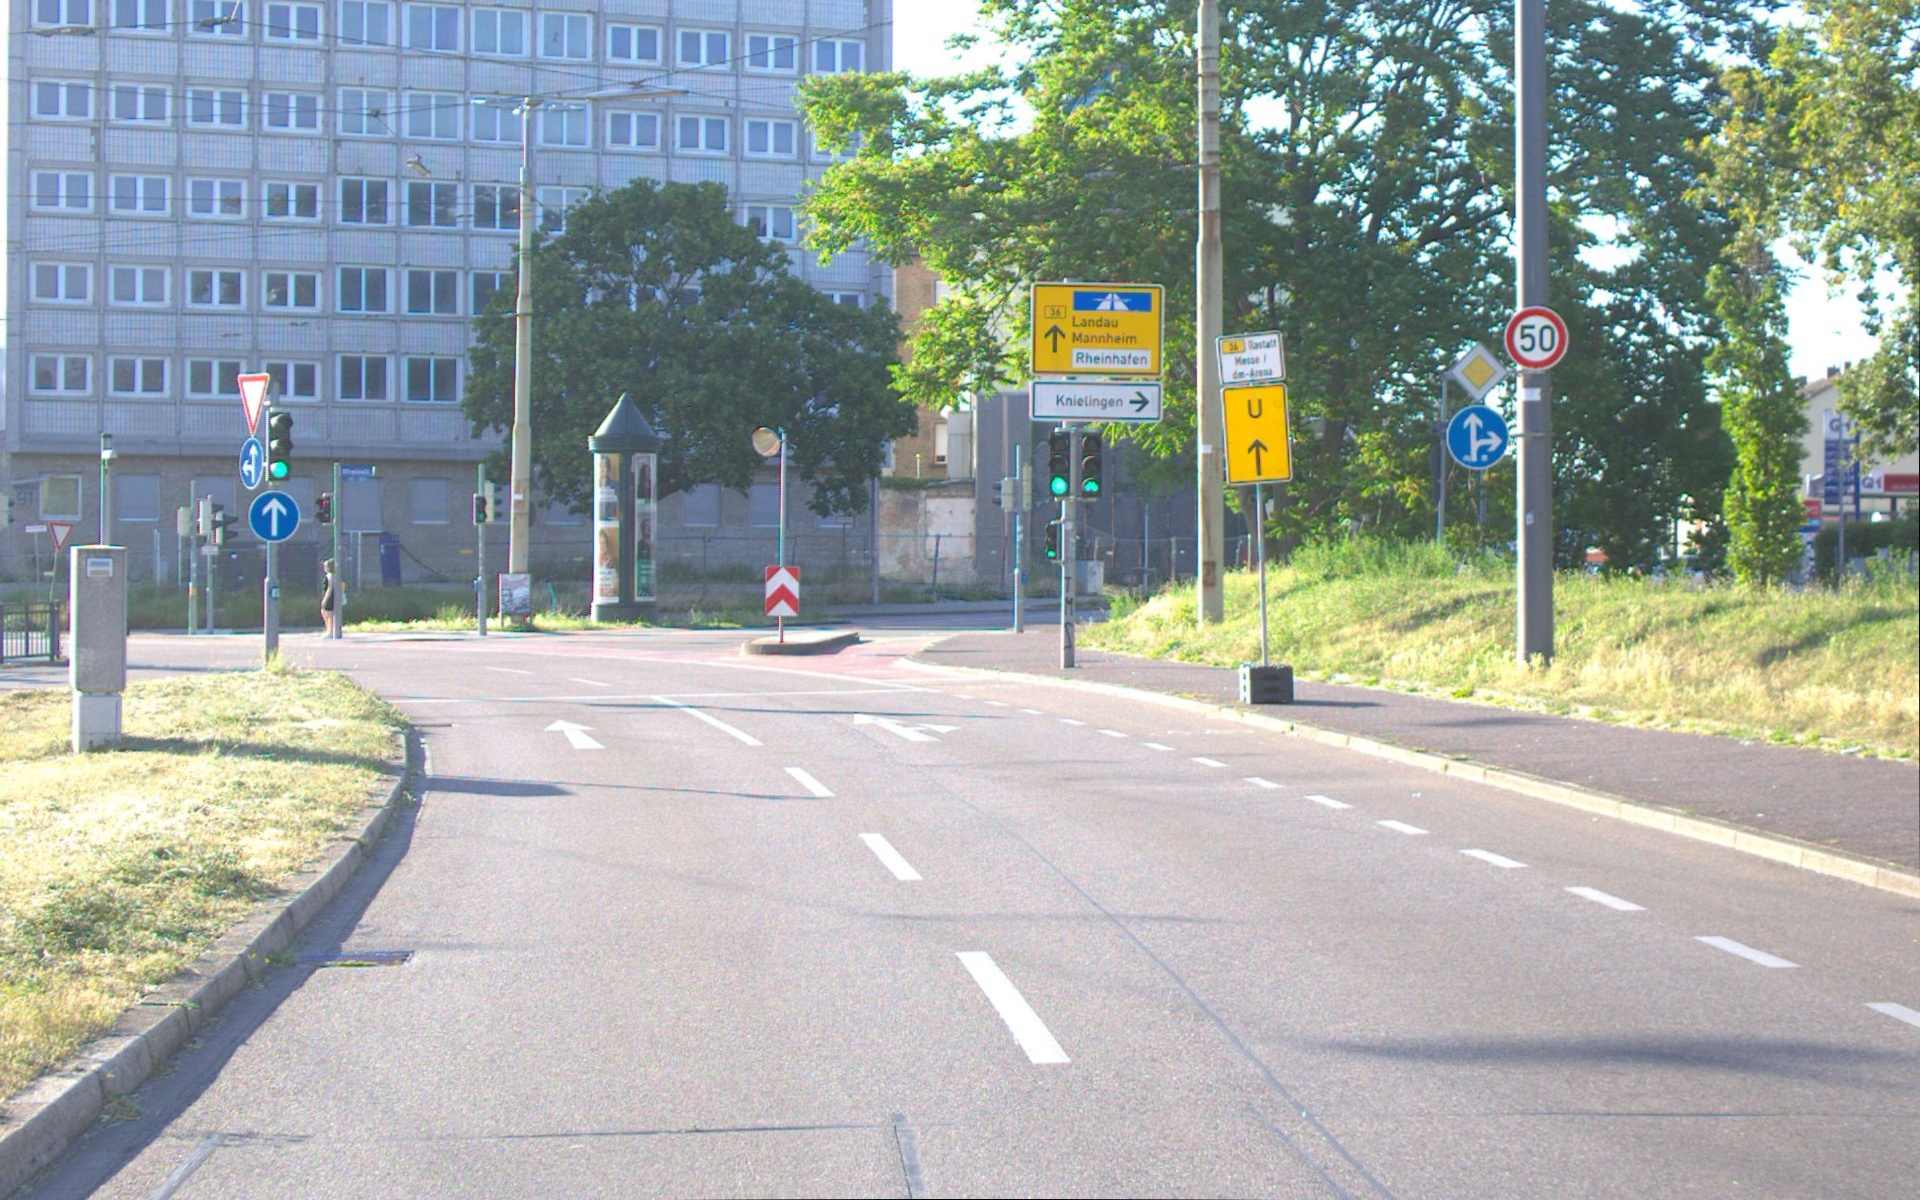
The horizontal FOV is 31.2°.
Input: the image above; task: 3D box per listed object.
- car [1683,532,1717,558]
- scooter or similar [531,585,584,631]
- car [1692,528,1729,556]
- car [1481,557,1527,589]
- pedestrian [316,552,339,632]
[{"bbox_3d":[45.165,-3.338,209.681,1.860,1.538,3.997,-1,1,14],"label":"car"},{"bbox_3d":[-10.305,0.201,87.992,1.296,1.166,0.327,-1,1,-20],"label":"scooter or similar"},{"bbox_3d":[42.669,-3.282,195.392,1.860,1.538,3.876,-1,1,14],"label":"car"},{"bbox_3d":[26.156,-1.301,165.221,1.874,1.453,3.785,-1,1,14],"label":"car"},{"bbox_3d":[-12.818,-0.169,69.642,0.436,1.607,0.630,-1,0,-11],"label":"pedestrian"}]
